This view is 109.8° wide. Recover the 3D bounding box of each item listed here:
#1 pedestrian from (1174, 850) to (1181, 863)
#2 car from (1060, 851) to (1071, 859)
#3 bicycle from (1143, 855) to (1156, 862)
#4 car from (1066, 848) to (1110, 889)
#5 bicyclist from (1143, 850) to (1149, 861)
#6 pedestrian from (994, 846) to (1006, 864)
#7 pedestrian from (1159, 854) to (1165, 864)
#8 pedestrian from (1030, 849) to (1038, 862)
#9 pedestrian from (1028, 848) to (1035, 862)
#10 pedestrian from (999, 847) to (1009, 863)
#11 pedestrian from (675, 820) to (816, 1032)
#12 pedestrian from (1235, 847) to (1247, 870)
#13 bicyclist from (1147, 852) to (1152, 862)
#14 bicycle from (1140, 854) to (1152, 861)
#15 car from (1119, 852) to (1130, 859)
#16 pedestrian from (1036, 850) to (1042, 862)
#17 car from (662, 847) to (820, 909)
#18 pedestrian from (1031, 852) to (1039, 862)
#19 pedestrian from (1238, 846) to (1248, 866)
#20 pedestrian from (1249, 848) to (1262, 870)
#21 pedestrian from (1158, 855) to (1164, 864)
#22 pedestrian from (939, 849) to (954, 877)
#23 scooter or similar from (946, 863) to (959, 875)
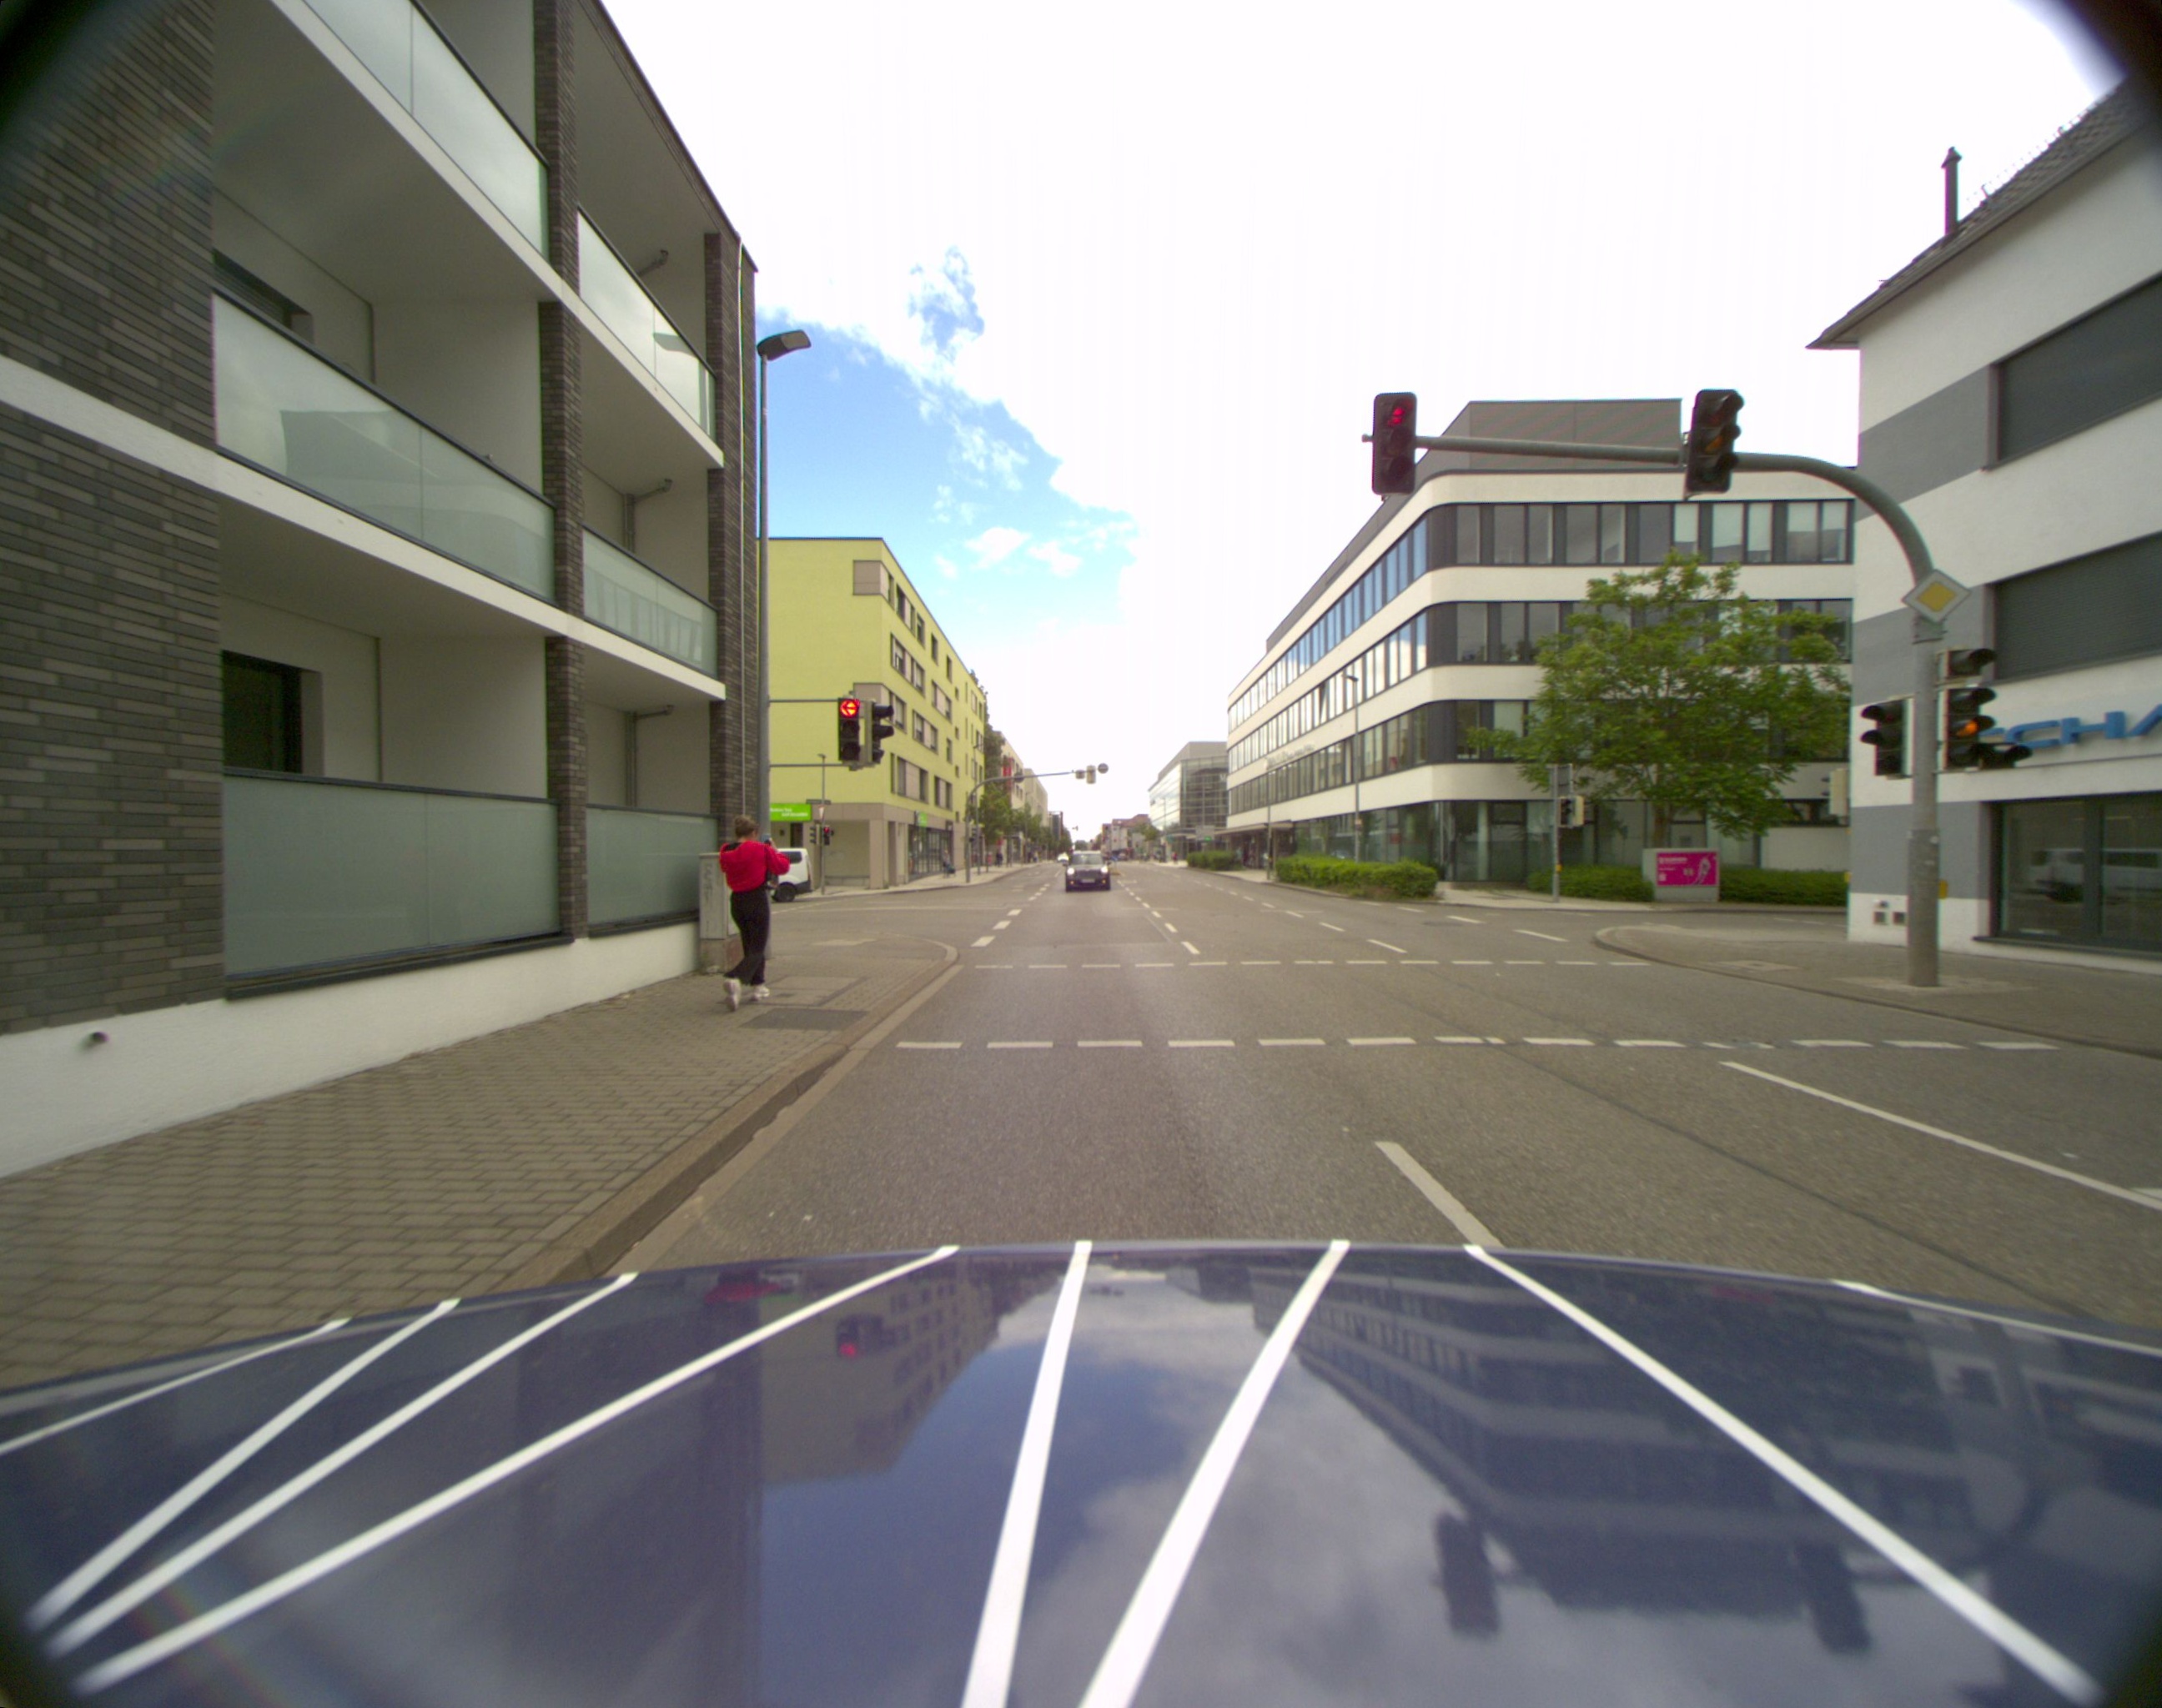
[{"bbox_3d":[11.432,0.297,90.012,0.832,1.558,0.813,-1,1,6],"label":"pedestrian"},{"bbox_3d":[-2.745,0.201,136.072,1.787,1.417,4.514,0,0,-1],"label":"car"},{"bbox_3d":[11.309,0.693,125.707,2.002,1.124,0.639,-2,0,16],"label":"bicycle"},{"bbox_3d":[0.347,0.533,31.409,1.691,1.550,4.745,-1,0,2],"label":"car"},{"bbox_3d":[10.954,0.288,128.335,0.772,1.789,0.749,-1,1,44],"label":"bicyclist"},{"bbox_3d":[-7.168,0.111,67.351,0.949,1.574,1.015,1,1,0],"label":"pedestrian"},{"bbox_3d":[11.258,0.710,105.271,0.686,1.312,0.576,2,1,-1],"label":"pedestrian"},{"bbox_3d":[-5.792,0.183,93.606,0.722,1.674,0.733,2,1,6],"label":"pedestrian"},{"bbox_3d":[-6.179,0.141,94.918,0.580,1.759,0.857,2,1,6],"label":"pedestrian"},{"bbox_3d":[-7.444,0.091,73.813,0.871,1.574,0.804,1,1,0],"label":"pedestrian"},{"bbox_3d":[-3.028,0.622,6.941,0.809,1.776,0.861,3,0,1],"label":"pedestrian"},{"bbox_3d":[12.207,0.343,58.036,0.732,1.664,0.931,-1,1,2],"label":"pedestrian"},{"bbox_3d":[11.332,0.439,125.690,0.783,1.639,0.639,-2,0,16],"label":"bicyclist"},{"bbox_3d":[10.972,0.597,128.347,2.025,1.199,0.749,-2,0,44],"label":"bicycle"},{"bbox_3d":[8.844,0.229,154.902,1.901,1.407,4.471,-1,0,1],"label":"car"},{"bbox_3d":[-5.393,0.223,97.584,0.580,1.581,0.733,2,1,6],"label":"pedestrian"},{"bbox_3d":[-12.268,0.800,27.486,5.008,1.976,1.997,-1,0,-29],"label":"car"},{"bbox_3d":[-5.762,0.369,95.981,0.945,1.252,0.732,2,1,-2],"label":"pedestrian"},{"bbox_3d":[13.469,0.172,63.085,0.616,1.700,0.505,0,1,-30],"label":"pedestrian"},{"bbox_3d":[13.140,0.356,57.229,0.732,1.604,0.931,-1,1,2],"label":"pedestrian"},{"bbox_3d":[11.204,0.744,106.541,0.686,1.246,0.576,1,1,-1],"label":"pedestrian"},{"bbox_3d":[-7.847,0.505,44.344,0.697,1.584,0.603,2,1,-1],"label":"pedestrian"},{"bbox_3d":[-7.633,0.910,45.072,0.593,0.669,0.824,2,0,-1],"label":"scooter or similar"}]
